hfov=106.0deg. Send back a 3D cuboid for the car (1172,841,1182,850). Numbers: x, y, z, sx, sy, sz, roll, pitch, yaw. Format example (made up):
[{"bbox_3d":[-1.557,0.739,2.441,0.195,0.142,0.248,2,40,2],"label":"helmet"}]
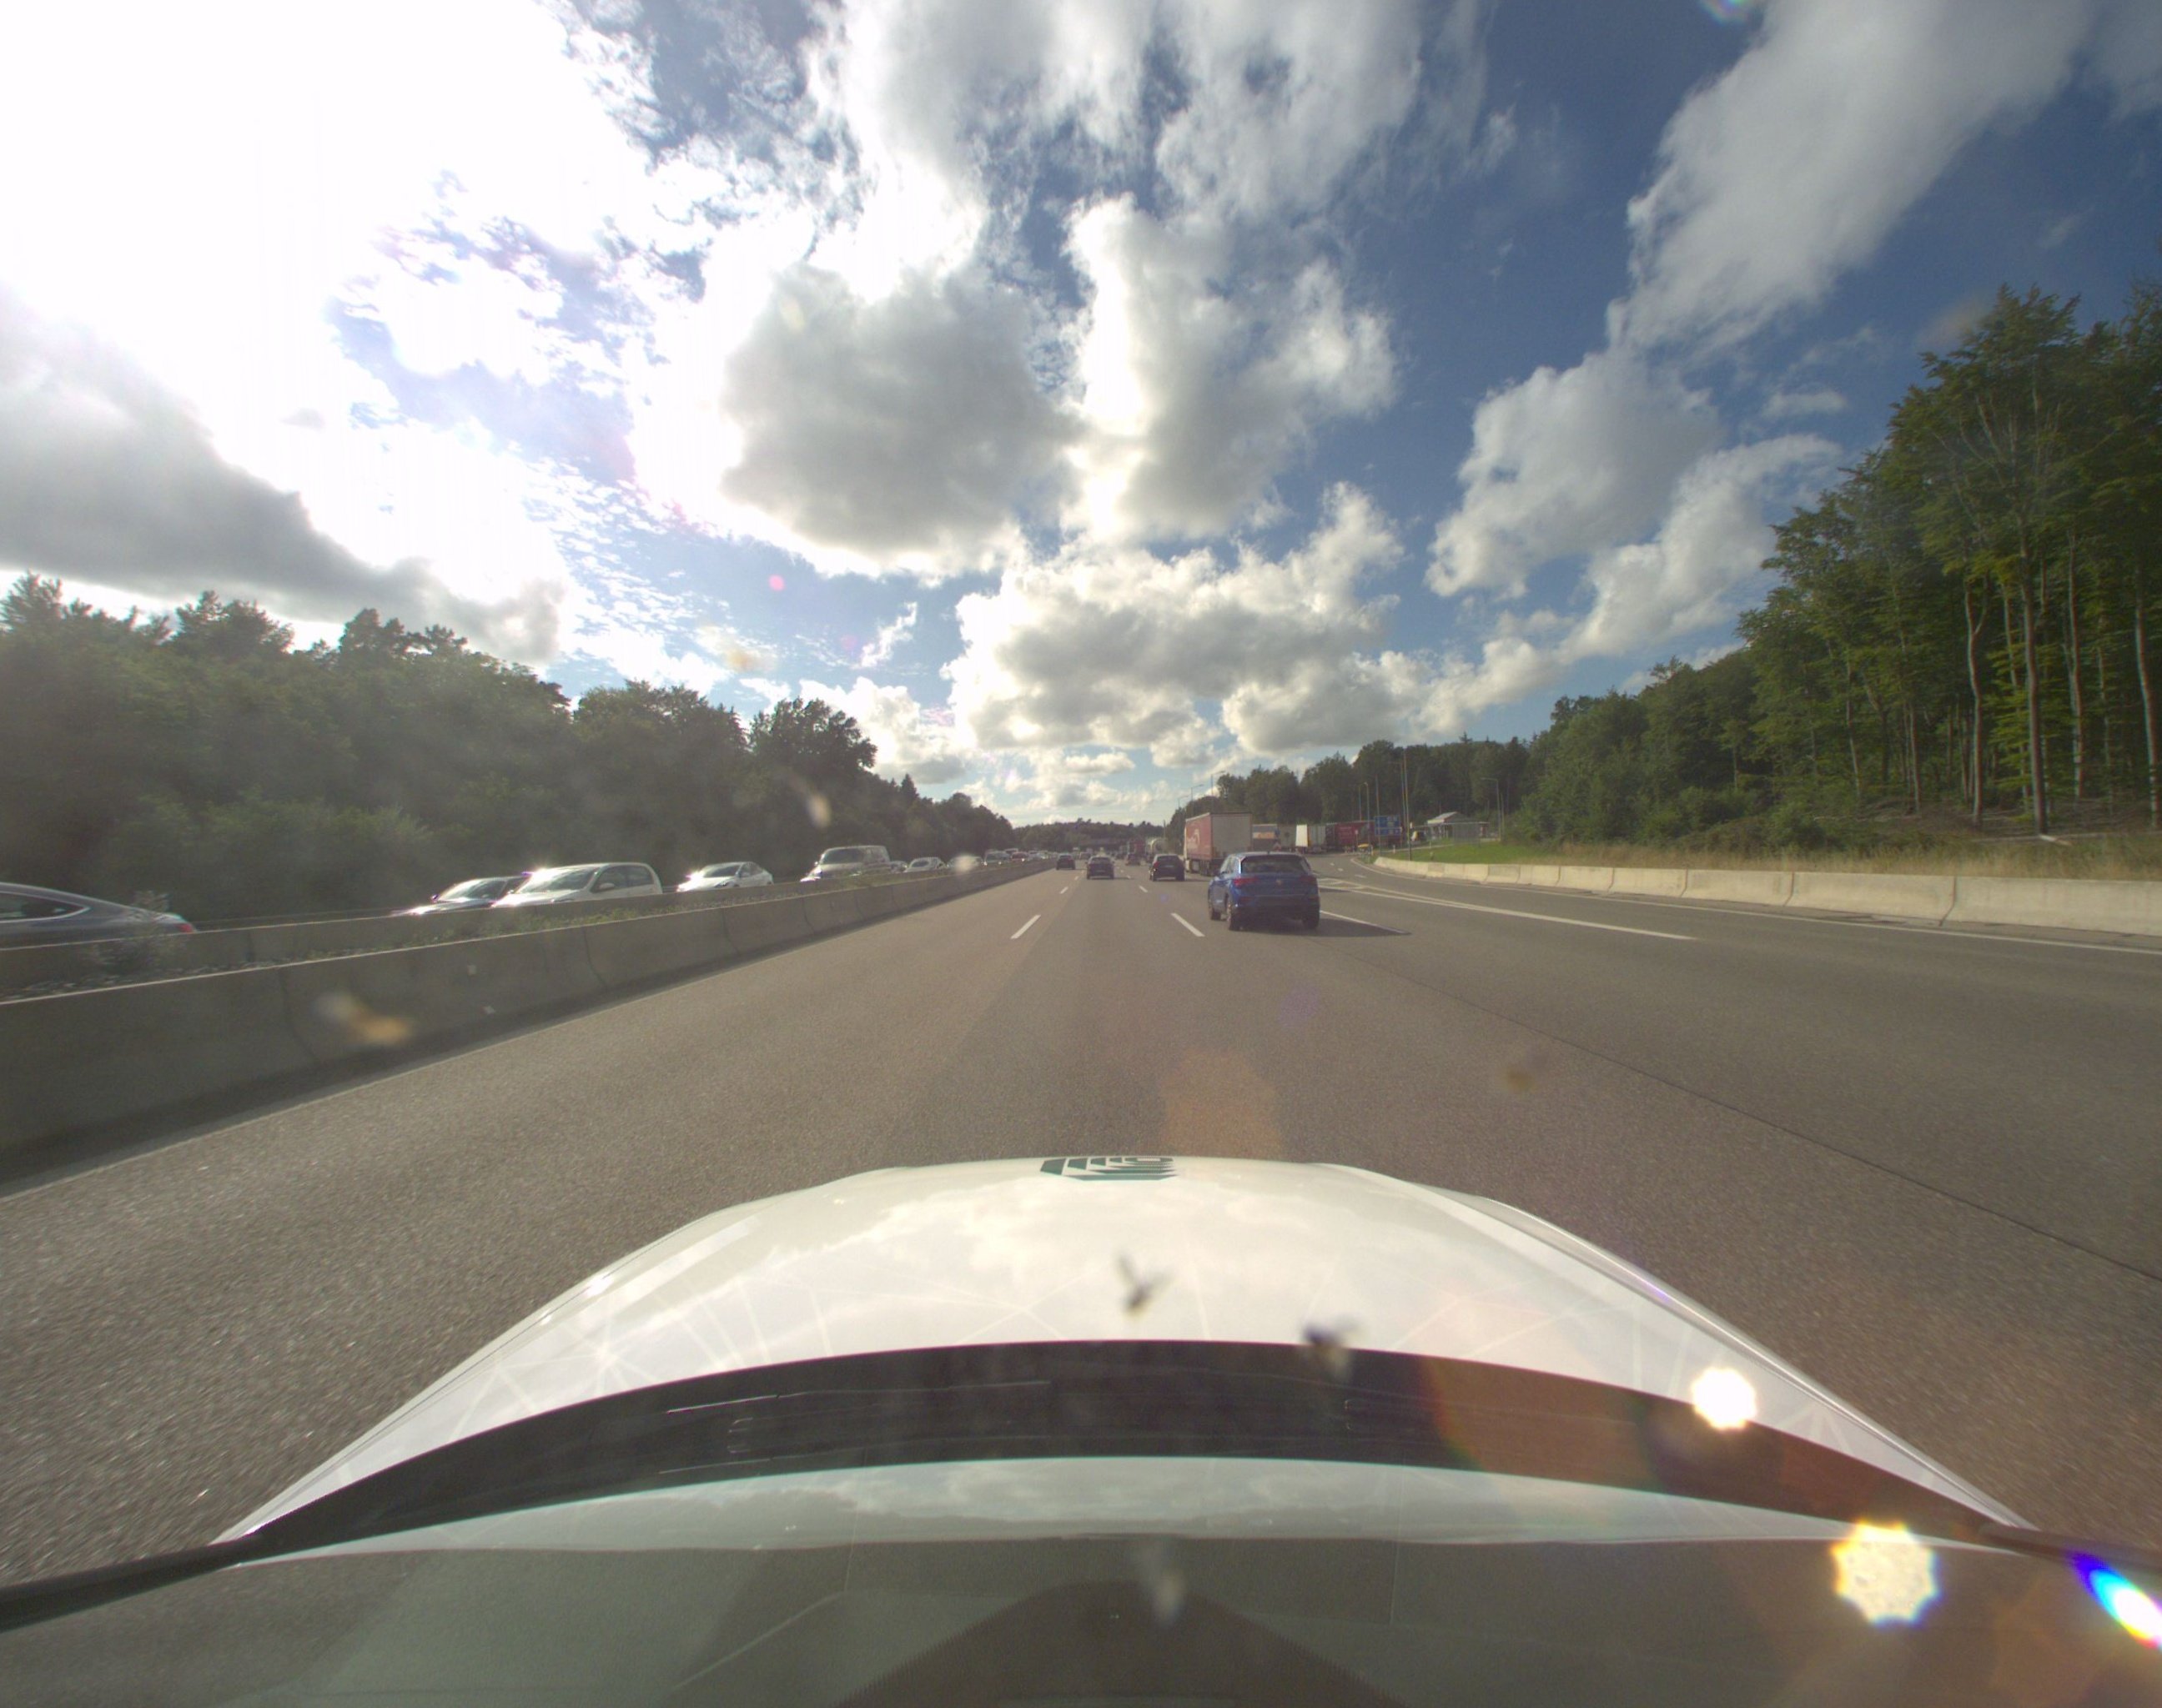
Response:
[{"bbox_3d":[23.152,-1.989,196.718,1.986,2.014,4.001,-2,-1,1],"label":"car"}]

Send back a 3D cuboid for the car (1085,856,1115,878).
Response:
[{"bbox_3d":[1.152,0.841,51.747,1.729,1.365,3.997,0,-1,-2],"label":"car"}]

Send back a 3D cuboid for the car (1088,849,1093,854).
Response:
[{"bbox_3d":[2.939,-0.877,247.948,1.617,1.470,3.816,0,-1,2],"label":"car"}]

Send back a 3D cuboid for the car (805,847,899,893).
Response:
[{"bbox_3d":[-8.484,0.557,30.686,1.985,1.572,4.818,-1,0,2],"label":"car"}]

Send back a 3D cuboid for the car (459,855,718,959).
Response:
[{"bbox_3d":[-9.485,0.970,16.358,1.986,1.736,5.091,-1,-2,1],"label":"car"}]

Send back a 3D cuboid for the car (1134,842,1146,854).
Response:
[{"bbox_3d":[11.063,-1.151,152.120,1.986,2.014,4.000,-1,-2,1],"label":"car"}]

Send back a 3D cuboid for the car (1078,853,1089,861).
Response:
[{"bbox_3d":[0.587,0.668,180.004,2.146,1.776,4.001,0,-1,2],"label":"car"}]

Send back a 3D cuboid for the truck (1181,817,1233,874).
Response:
[{"bbox_3d":[9.516,-0.550,62.030,3.069,4.064,6.070,-1,-2,1],"label":"truck"}]

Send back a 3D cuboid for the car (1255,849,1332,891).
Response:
[{"bbox_3d":[8.434,0.651,32.761,1.711,1.511,4.296,-2,-1,-4],"label":"car"}]

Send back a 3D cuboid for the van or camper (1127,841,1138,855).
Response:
[{"bbox_3d":[11.822,-1.328,186.511,2.342,3.144,5.713,-1,-2,3],"label":"van or camper"}]

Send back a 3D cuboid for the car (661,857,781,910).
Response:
[{"bbox_3d":[-12.780,0.982,29.308,1.985,1.733,4.765,-1,0,2],"label":"car"}]

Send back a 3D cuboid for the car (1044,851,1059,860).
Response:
[{"bbox_3d":[-4.984,0.245,137.104,1.985,1.572,5.332,1,0,3],"label":"car"}]

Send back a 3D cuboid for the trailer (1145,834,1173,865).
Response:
[{"bbox_3d":[11.064,-0.578,116.534,3.025,4.016,12.246,-1,-1,1],"label":"trailer"}]

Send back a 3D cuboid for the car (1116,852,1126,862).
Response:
[{"bbox_3d":[8.316,0.709,169.143,1.986,2.014,4.001,0,-1,1],"label":"car"}]

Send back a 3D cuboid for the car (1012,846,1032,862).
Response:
[{"bbox_3d":[-6.448,0.009,89.593,1.871,1.762,5.290,-1,0,-2],"label":"car"}]

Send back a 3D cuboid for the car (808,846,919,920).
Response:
[{"bbox_3d":[-6.103,0.755,23.369,1.986,1.920,4.001,-1,0,1],"label":"car"}]

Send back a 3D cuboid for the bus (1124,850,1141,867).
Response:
[{"bbox_3d":[6.287,0.610,99.758,1.986,2.014,4.001,-1,-2,2],"label":"bus"}]

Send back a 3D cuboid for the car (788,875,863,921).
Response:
[{"bbox_3d":[-12.182,2.066,39.145,1.985,2.014,4.461,-1,-1,2],"label":"car"}]

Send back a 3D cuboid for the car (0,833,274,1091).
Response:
[{"bbox_3d":[-9.415,0.852,5.906,1.897,2.013,5.094,-1,0,3],"label":"car"}]

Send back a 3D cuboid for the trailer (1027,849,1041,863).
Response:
[{"bbox_3d":[-9.702,0.348,168.137,2.271,2.786,8.541,-1,0,0],"label":"trailer"}]

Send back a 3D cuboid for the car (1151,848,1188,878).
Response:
[{"bbox_3d":[4.958,0.529,46.091,1.792,1.644,4.001,0,-1,2],"label":"car"}]

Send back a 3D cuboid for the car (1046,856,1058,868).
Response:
[{"bbox_3d":[-5.216,1.435,146.510,1.986,2.014,4.677,-1,-2,1],"label":"car"}]

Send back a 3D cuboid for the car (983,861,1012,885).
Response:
[{"bbox_3d":[-7.108,1.631,69.852,1.809,2.014,4.454,-1,-2,3],"label":"car"}]

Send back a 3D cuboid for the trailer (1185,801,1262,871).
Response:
[{"bbox_3d":[9.354,-0.932,55.285,3.027,4.035,13.891,-1,-2,1],"label":"trailer"}]

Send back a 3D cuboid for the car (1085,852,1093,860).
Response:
[{"bbox_3d":[2.098,0.575,208.584,1.988,2.013,3.998,-1,0,-1],"label":"car"}]

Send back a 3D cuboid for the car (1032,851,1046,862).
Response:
[{"bbox_3d":[-6.567,0.398,128.559,1.758,1.572,4.360,0,0,2],"label":"car"}]

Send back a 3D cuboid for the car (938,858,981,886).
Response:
[{"bbox_3d":[-8.078,1.234,54.561,1.985,1.759,4.461,-1,-2,2],"label":"car"}]

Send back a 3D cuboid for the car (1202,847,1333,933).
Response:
[{"bbox_3d":[3.848,0.693,17.609,1.916,1.541,4.648,-2,0,2],"label":"car"}]

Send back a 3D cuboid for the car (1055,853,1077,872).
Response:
[{"bbox_3d":[-1.532,0.852,83.254,1.986,1.776,4.002,-1,0,2],"label":"car"}]

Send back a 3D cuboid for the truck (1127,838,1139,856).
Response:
[{"bbox_3d":[11.502,-1.410,179.931,2.348,3.573,11.272,-1,-2,3],"label":"truck"}]

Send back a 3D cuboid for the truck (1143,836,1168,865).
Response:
[{"bbox_3d":[11.196,-0.488,122.515,3.035,4.160,7.126,-1,-1,0],"label":"truck"}]

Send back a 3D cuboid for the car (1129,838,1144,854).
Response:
[{"bbox_3d":[11.055,-1.511,162.236,2.855,2.992,5.152,-1,-2,2],"label":"car"}]

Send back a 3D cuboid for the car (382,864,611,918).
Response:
[{"bbox_3d":[-12.470,0.750,17.769,1.985,0.970,4.003,-1,0,2],"label":"car"}]

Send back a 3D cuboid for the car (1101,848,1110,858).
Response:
[{"bbox_3d":[5.839,-0.224,191.078,1.986,2.014,4.000,-2,-2,1],"label":"car"}]
